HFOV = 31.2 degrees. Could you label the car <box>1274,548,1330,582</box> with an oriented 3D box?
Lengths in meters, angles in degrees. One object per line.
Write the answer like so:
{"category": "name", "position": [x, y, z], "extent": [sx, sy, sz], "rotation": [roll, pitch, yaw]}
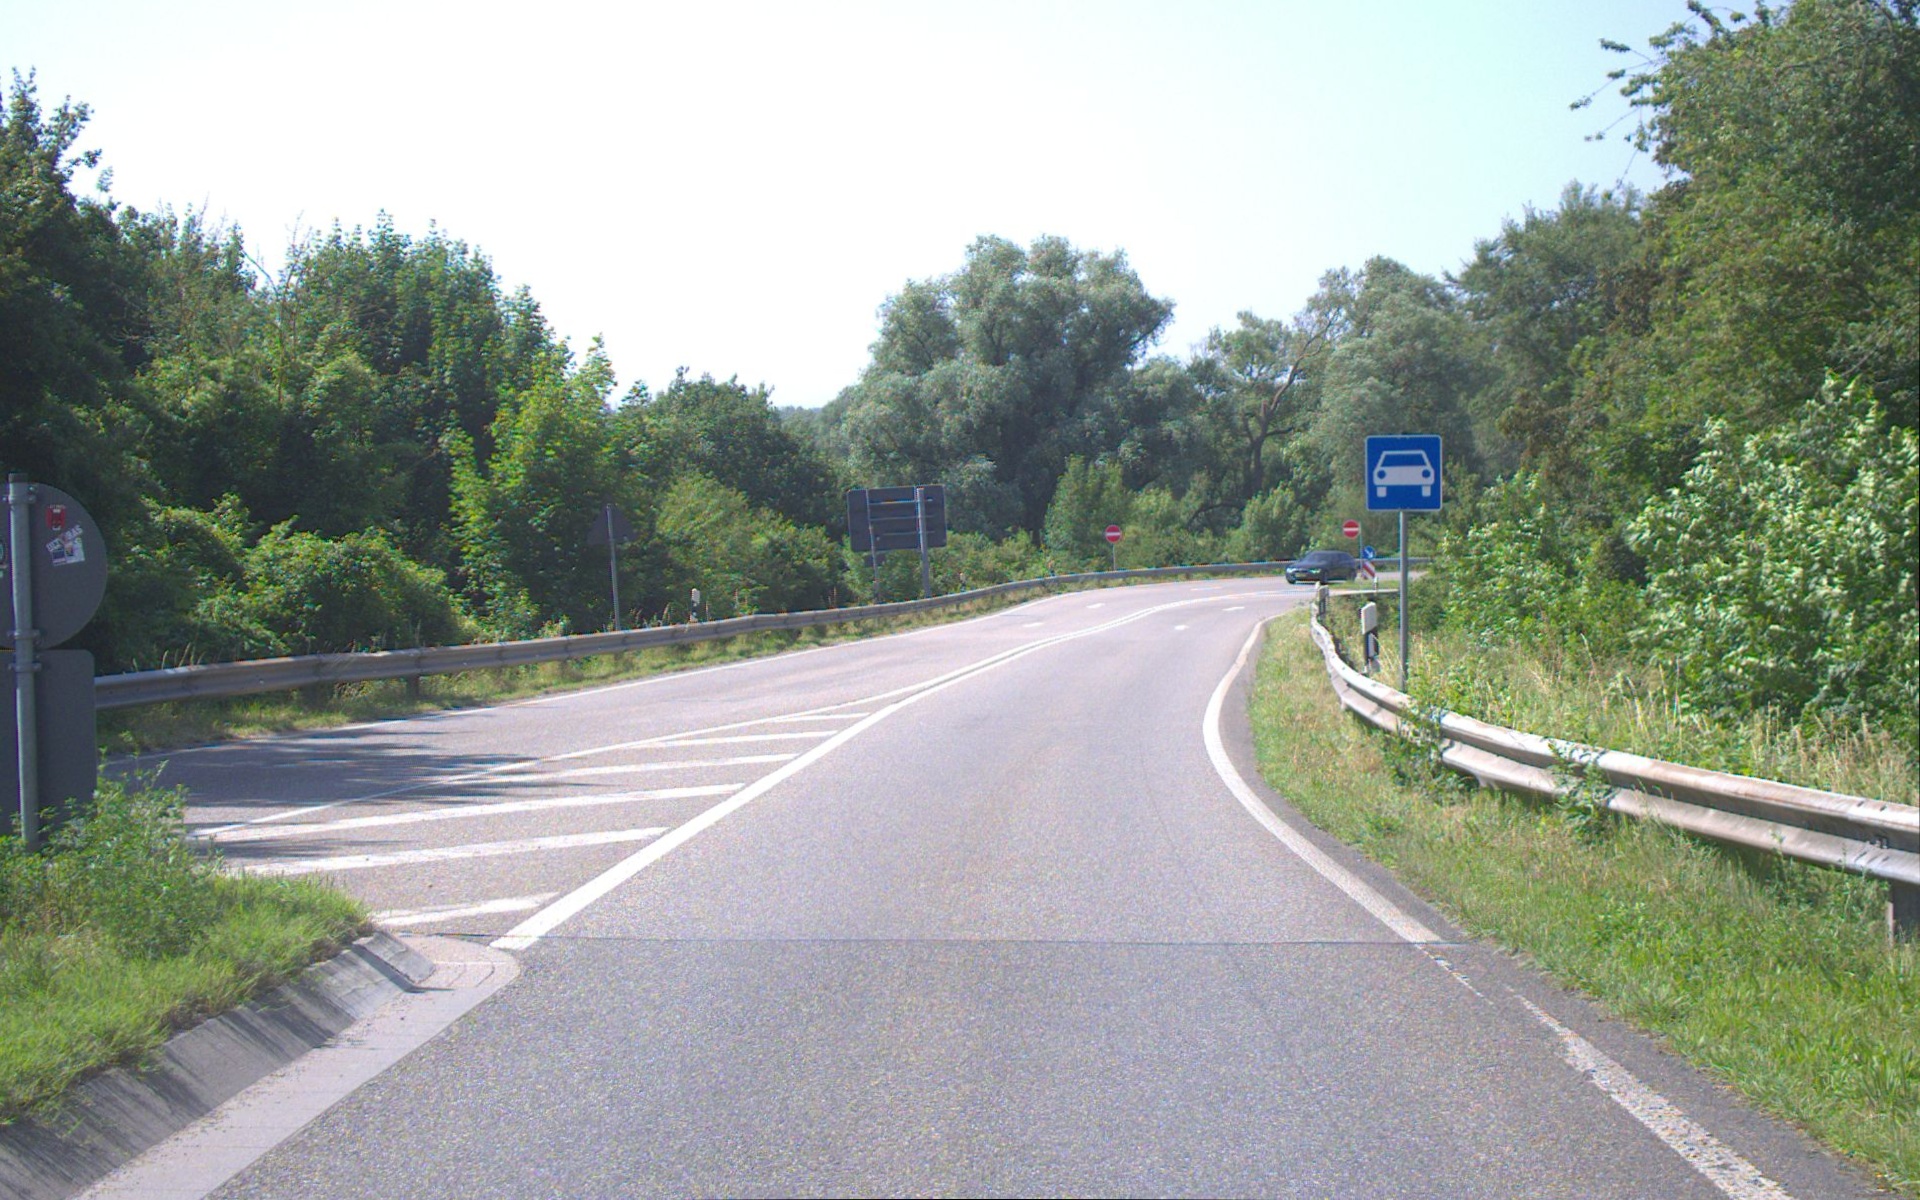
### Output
{"category": "car", "position": [15.115, -1.527, 151.947], "extent": [1.609, 1.468, 4.216], "rotation": [0, 0, 18]}
